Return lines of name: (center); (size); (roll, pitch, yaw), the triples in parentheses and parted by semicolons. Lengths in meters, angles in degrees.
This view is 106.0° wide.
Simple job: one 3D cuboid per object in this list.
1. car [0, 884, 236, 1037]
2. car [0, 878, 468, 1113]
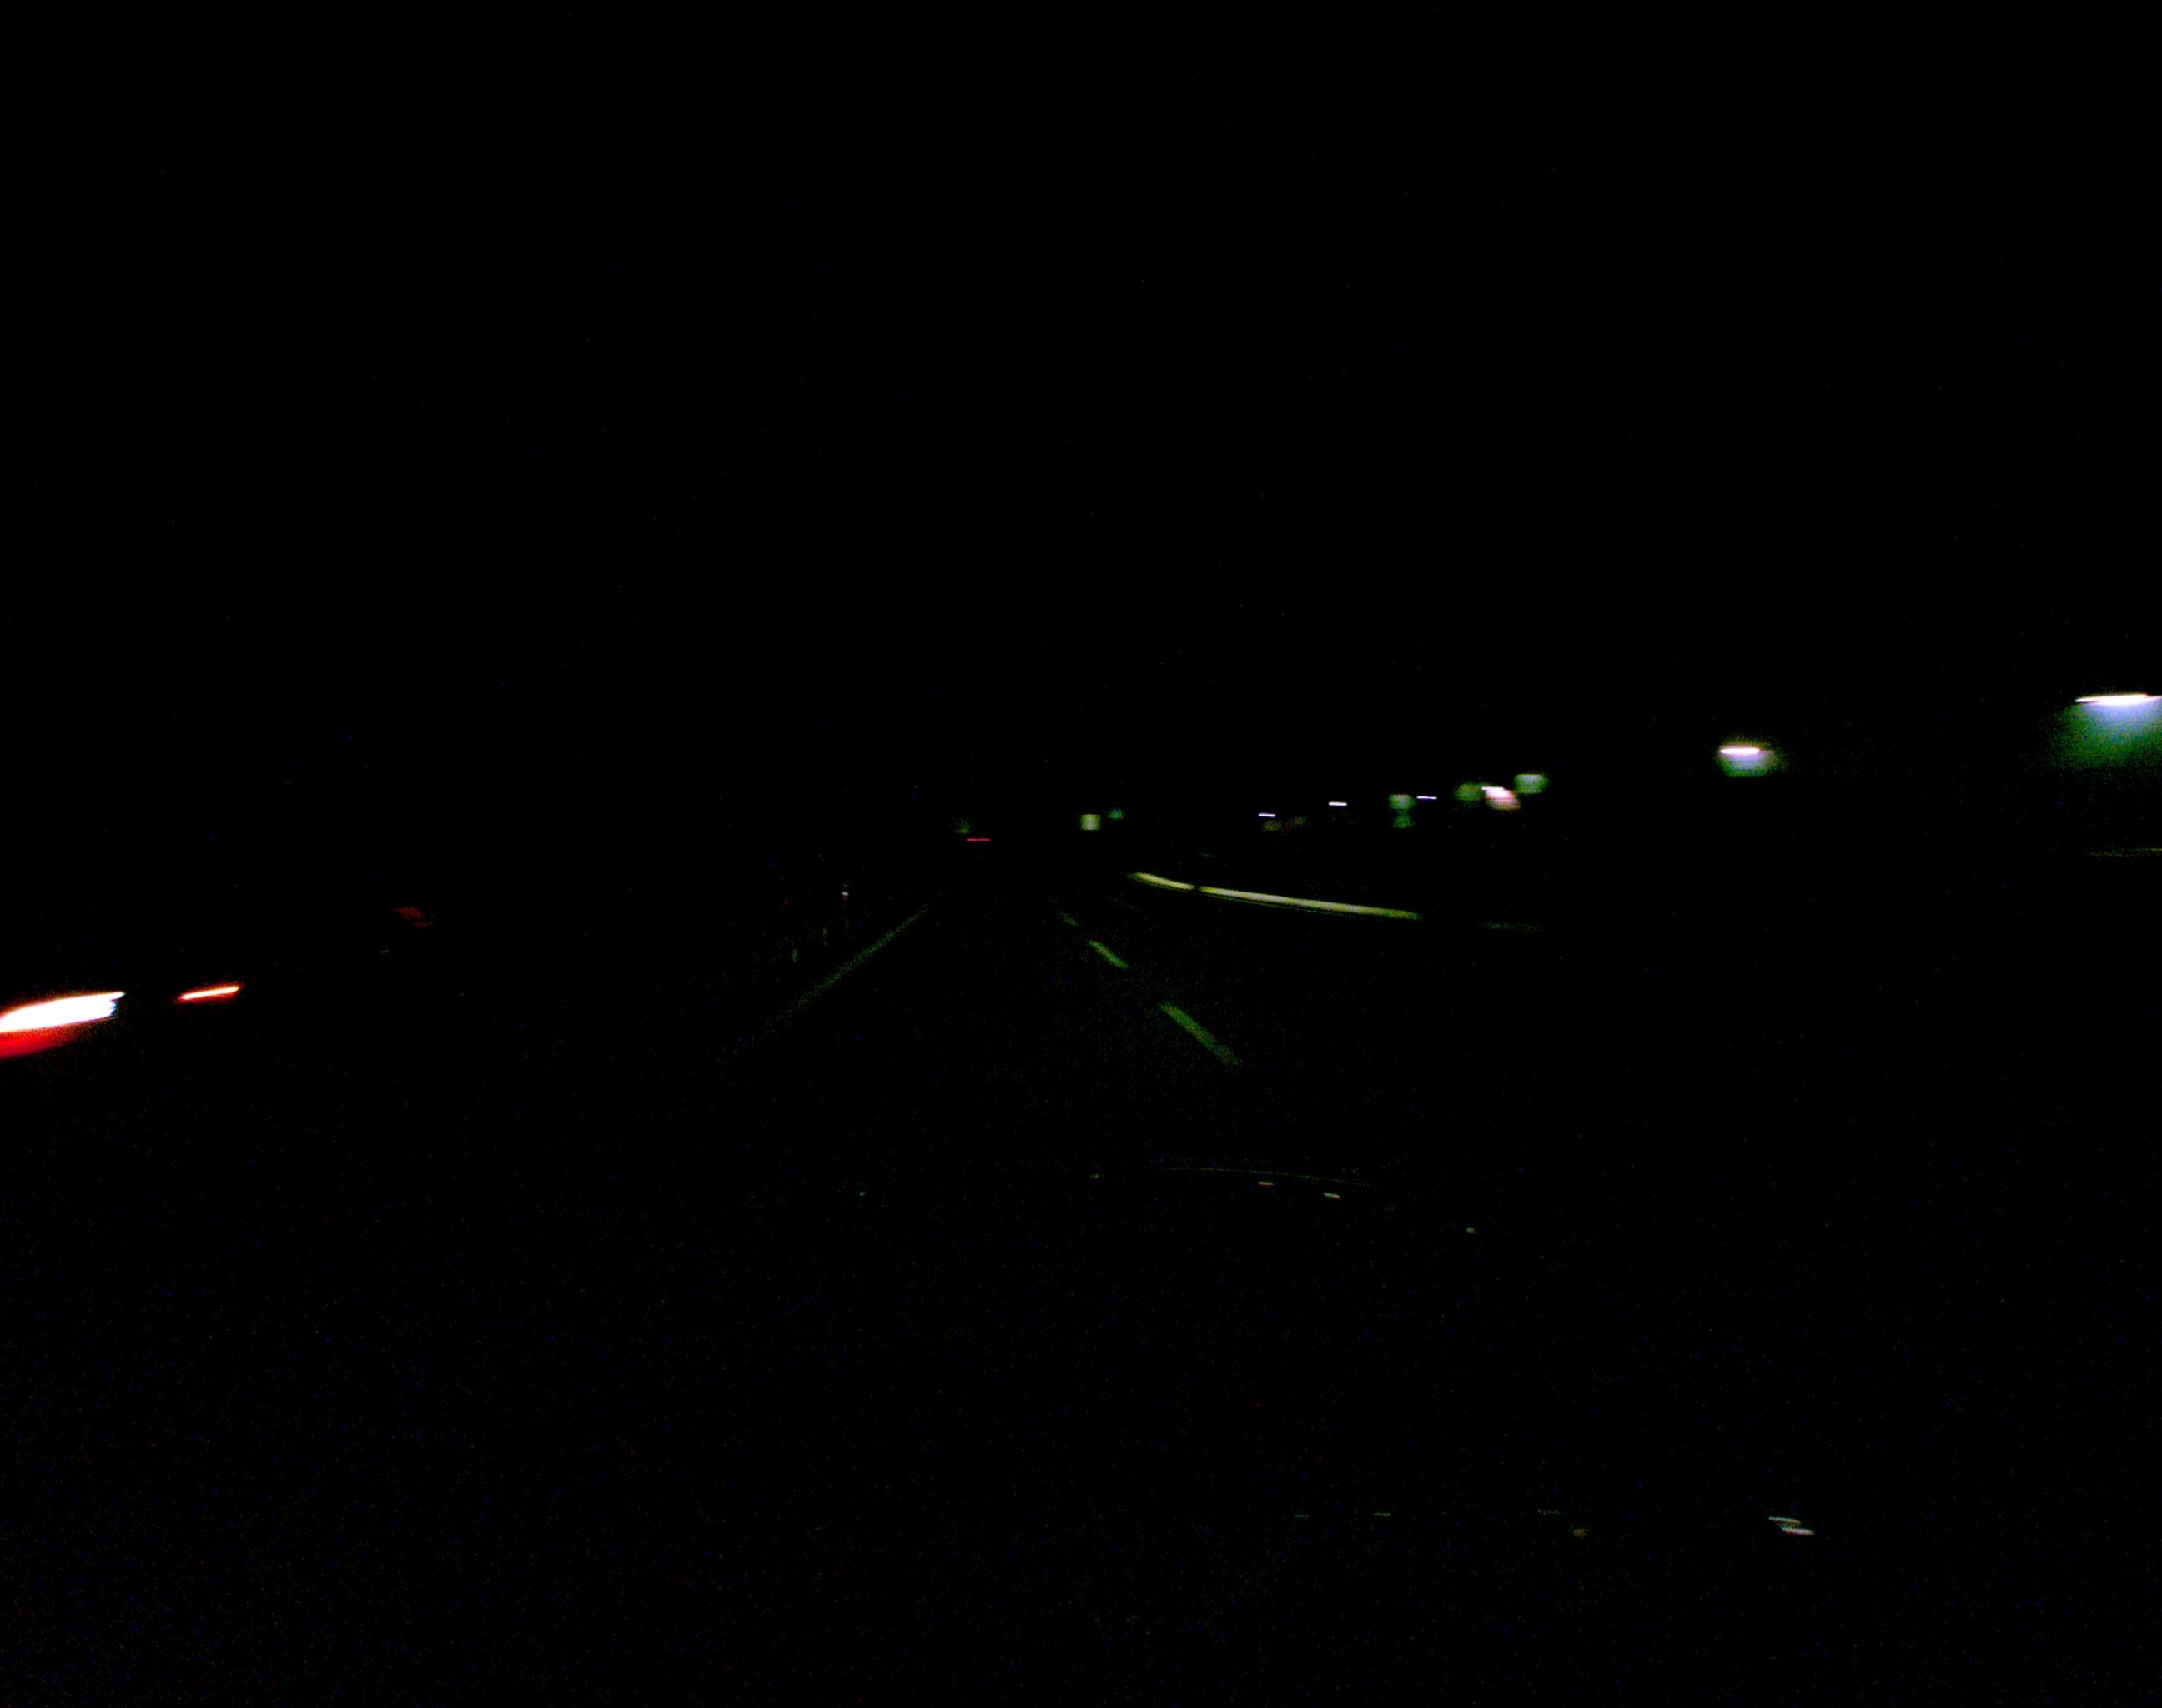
car: (-11.855, 1.163, 8.718); (1.679, 1.459, 3.809); (-2, 0, -3)
car: (-8.026, 1.049, 7.575); (1.706, 1.444, 3.981); (-1, 1, -3)
